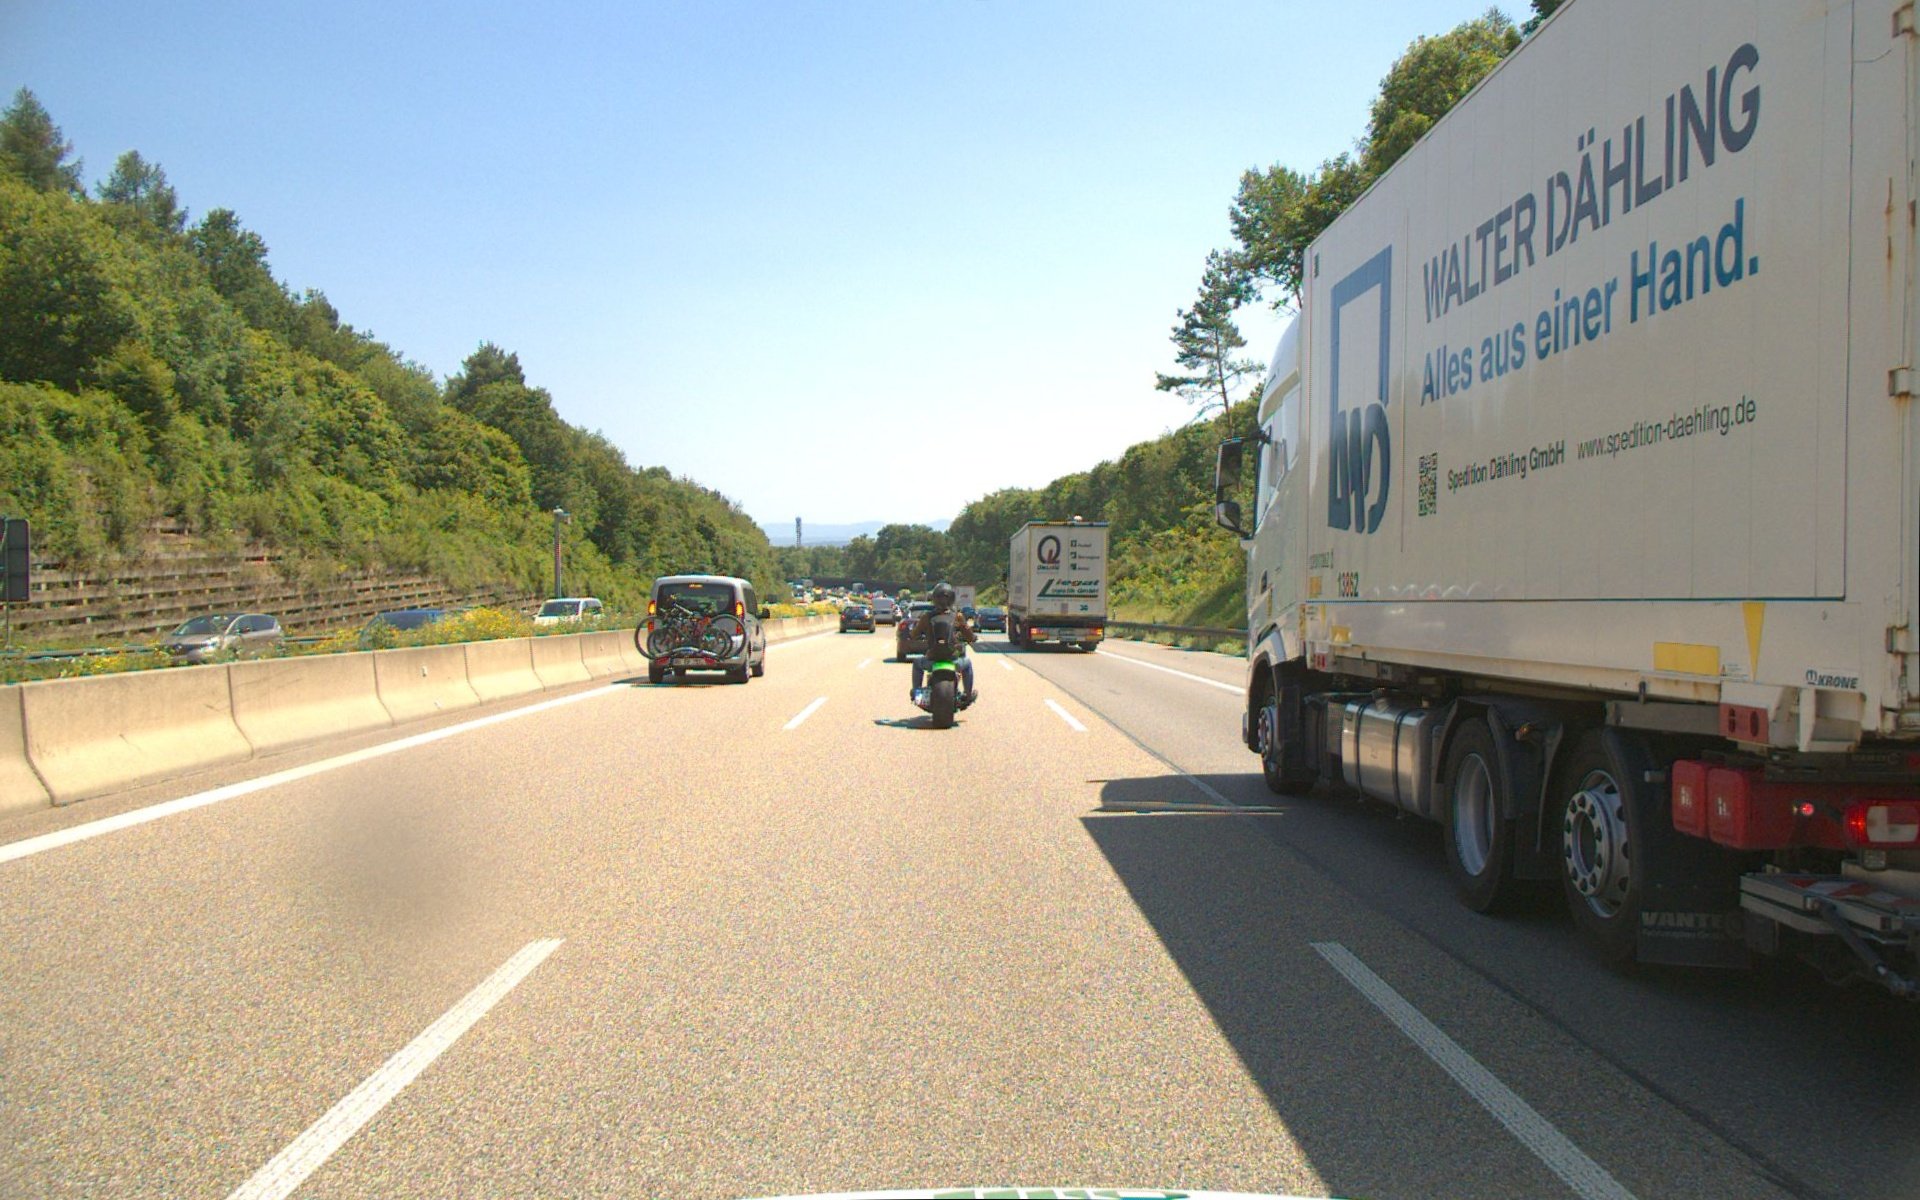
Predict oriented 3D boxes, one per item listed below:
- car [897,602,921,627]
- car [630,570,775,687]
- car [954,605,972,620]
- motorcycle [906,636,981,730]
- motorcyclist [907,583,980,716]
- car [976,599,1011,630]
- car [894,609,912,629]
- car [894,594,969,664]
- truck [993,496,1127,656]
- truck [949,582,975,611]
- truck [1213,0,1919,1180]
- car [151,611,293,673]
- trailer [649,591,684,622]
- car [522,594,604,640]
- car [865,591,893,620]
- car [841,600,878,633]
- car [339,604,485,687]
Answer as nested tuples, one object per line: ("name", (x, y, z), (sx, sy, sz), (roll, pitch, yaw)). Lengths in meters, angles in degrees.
("car", (-4.033, 1.152, 131.359), (1.794, 1.842, 4.119), (1, 1, -1))
("car", (-4.526, 0.462, 29.852), (1.860, 1.880, 5.481), (1, 0, -1))
("car", (0.326, 1.367, 183.699), (1.794, 1.585, 4.119), (1, 1, -1))
("motorcycle", (-0.188, 0.966, 19.858), (0.844, 0.999, 2.130), (1, 0, 0))
("motorcyclist", (-0.192, 0.574, 19.780), (0.838, 1.541, 0.914), (1, 0, 0))
("car", (1.860, 0.812, 93.162), (1.794, 1.585, 4.119), (1, 1, -1))
("car", (-5.736, 1.871, 166.945), (1.794, 1.842, 4.119), (1, 1, -1))
("car", (-0.743, 0.697, 42.377), (1.808, 1.584, 4.438), (1, 1, -1))
("truck", (3.259, -0.837, 59.849), (3.315, 4.800, 17.705), (2, 1, -1))
("truck", (0.240, -0.527, 206.846), (3.005, 3.404, 9.650), (2, 1, -1))
("truck", (3.757, -0.566, 9.585), (2.626, 4.130, 10.623), (1, 1, -2))
("car", (-19.828, 1.088, 44.671), (1.624, 1.478, 4.922), (0, 1, 0))
("trailer", (-20.695, 0.461, 116.662), (1.857, 2.154, 3.495), (-1, 0, 0))
("car", (-14.738, 0.596, 61.627), (1.854, 1.635, 5.077), (0, 1, 0))
("car", (-5.478, 0.354, 112.360), (1.794, 1.842, 4.119), (1, 1, -1))
("car", (-5.218, 0.861, 86.514), (1.722, 1.570, 4.394), (1, 1, -1))
("car", (-11.000, 0.873, 33.476), (1.624, 1.478, 3.884), (2, 1, 0))
